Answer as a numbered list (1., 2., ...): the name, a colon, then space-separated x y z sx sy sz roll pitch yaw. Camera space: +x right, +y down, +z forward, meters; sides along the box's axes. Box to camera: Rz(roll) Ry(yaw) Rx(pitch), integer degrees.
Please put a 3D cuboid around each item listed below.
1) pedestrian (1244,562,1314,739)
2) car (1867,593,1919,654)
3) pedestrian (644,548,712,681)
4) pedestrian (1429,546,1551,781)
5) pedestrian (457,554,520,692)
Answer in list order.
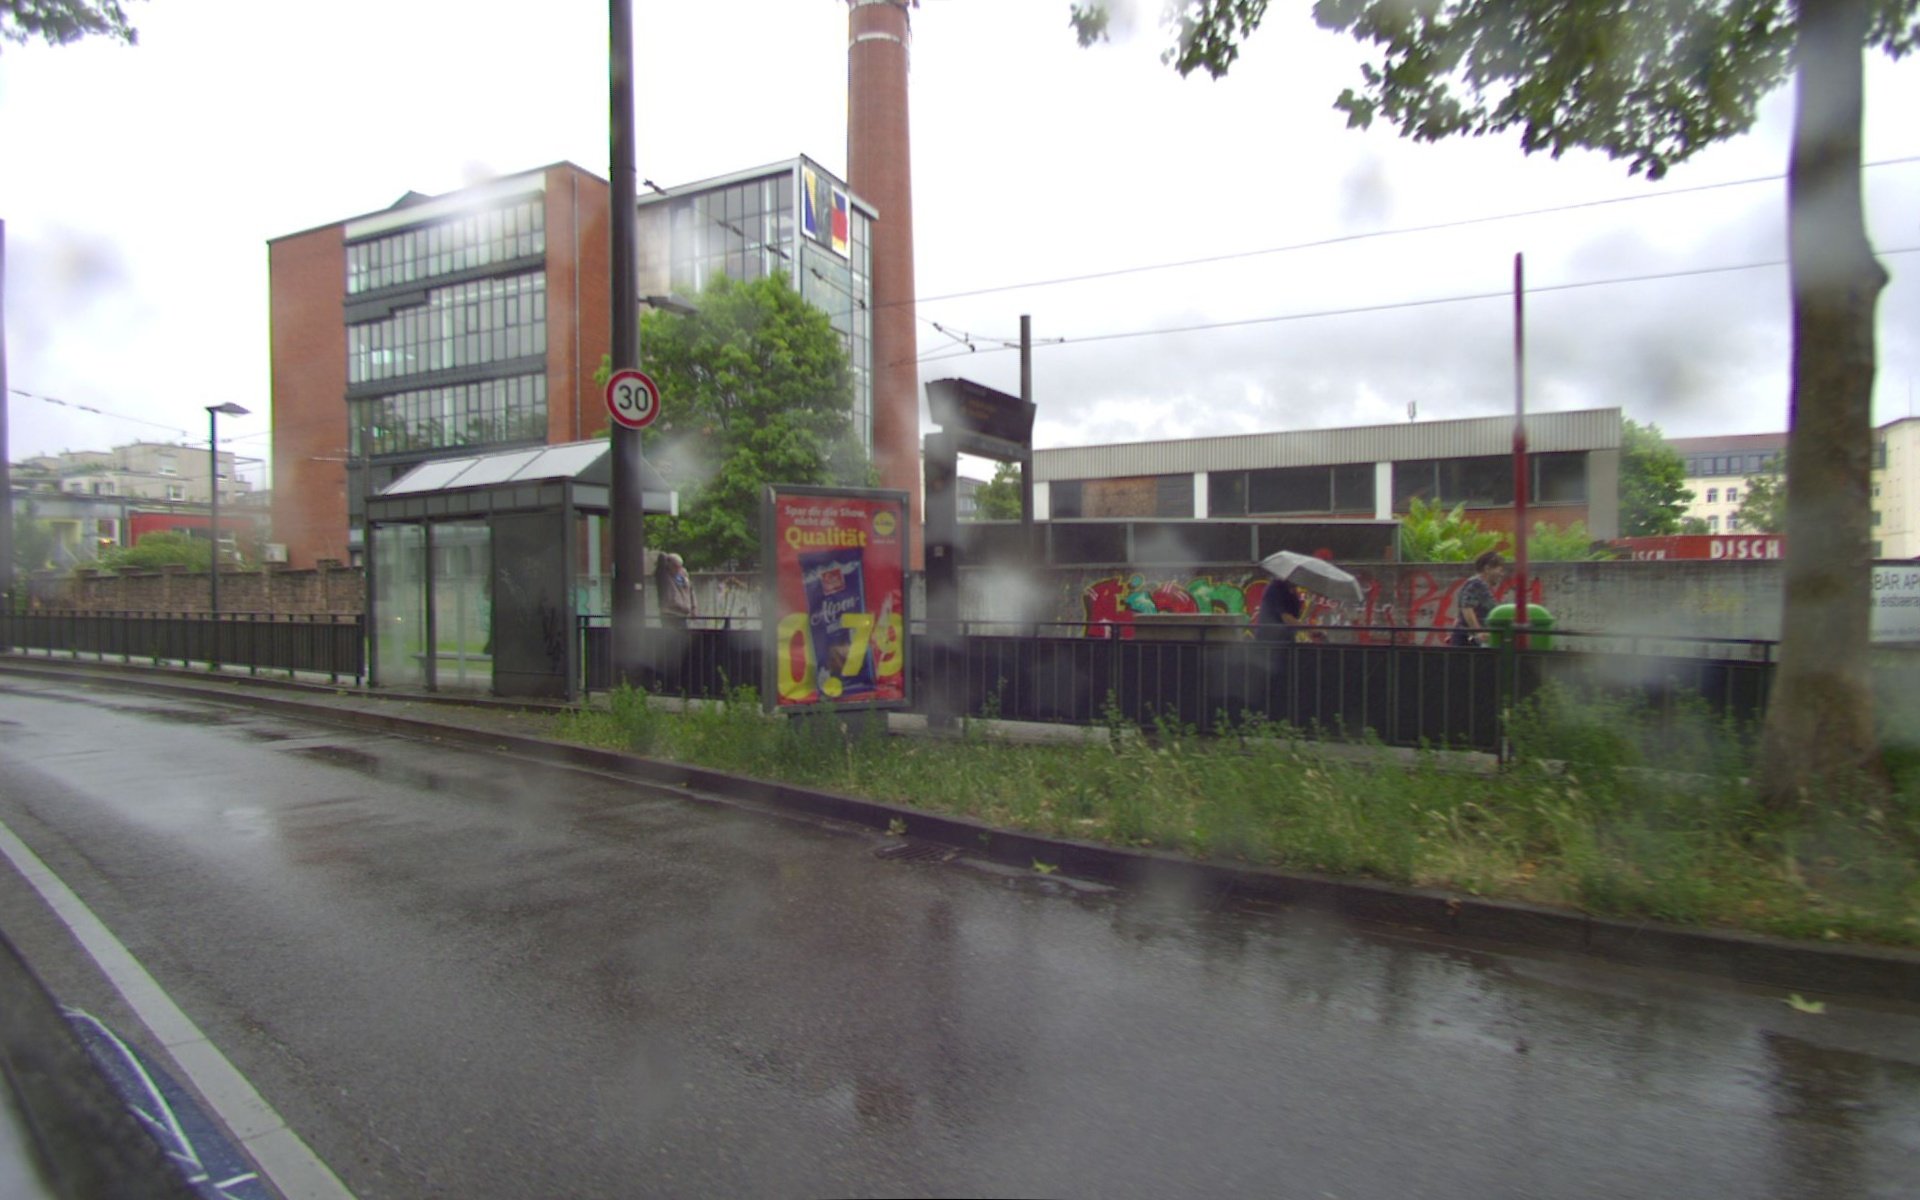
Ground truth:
1. pedestrian: 2.708 0.406 8.565 0.492 1.438 0.606 0 0 25
2. car: 21.672 0.511 21.448 1.381 1.315 3.526 0 0 -10
3. pedestrian: -3.548 0.178 12.756 0.492 1.615 0.709 0 0 25
4. pedestrian: 4.407 0.491 8.411 0.841 1.818 0.819 -1 0 30
5. pedestrian: -6.226 0.288 13.354 0.620 1.761 0.565 0 0 -41
